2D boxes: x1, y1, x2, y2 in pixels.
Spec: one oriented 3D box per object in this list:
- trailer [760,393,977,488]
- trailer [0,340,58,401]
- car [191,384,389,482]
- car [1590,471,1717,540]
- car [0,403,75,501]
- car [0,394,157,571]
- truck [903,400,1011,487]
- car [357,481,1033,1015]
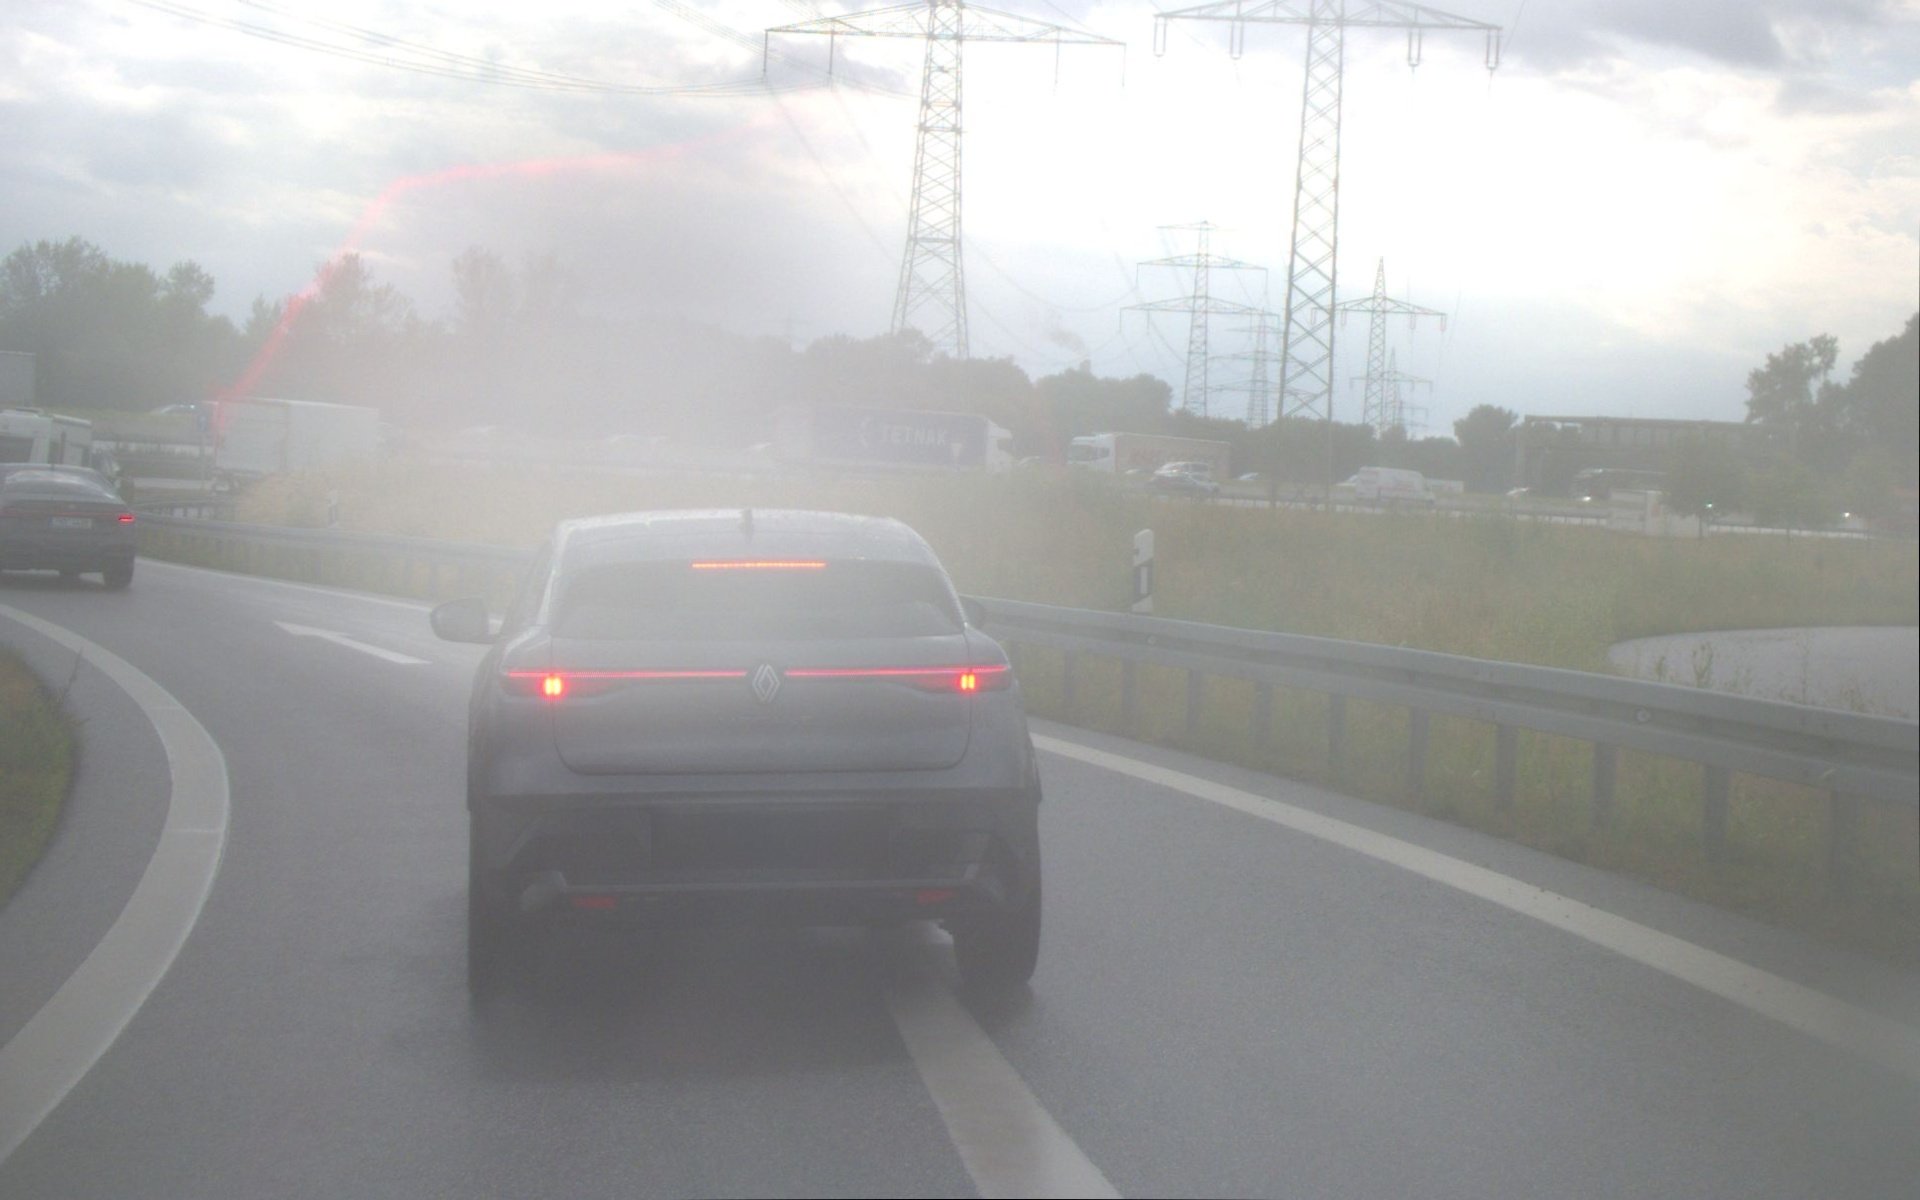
[{"bbox_3d":[-4.657,-8.261,179.583,3.055,4.619,13.271,6,5,40],"label":"trailer"},{"bbox_3d":[-51.198,-11.830,175.567,2.318,3.015,10.461,6,5,40],"label":"trailer"},{"bbox_3d":[-21.926,-5.504,112.993,3.139,2.941,7.203,4,4,19],"label":"car"},{"bbox_3d":[41.289,-5.594,204.426,3.391,3.598,9.024,5,2,39],"label":"car"},{"bbox_3d":[-24.450,-3.870,89.070,2.350,2.298,5.131,2,4,-8],"label":"car"},{"bbox_3d":[-12.065,-1.589,44.305,2.120,2.011,5.537,1,4,-26],"label":"car"},{"bbox_3d":[-0.148,-8.416,184.834,3.076,4.463,5.060,6,5,41],"label":"truck"},{"bbox_3d":[-0.925,0.367,12.258,1.993,1.561,4.150,0,2,-4],"label":"car"}]
